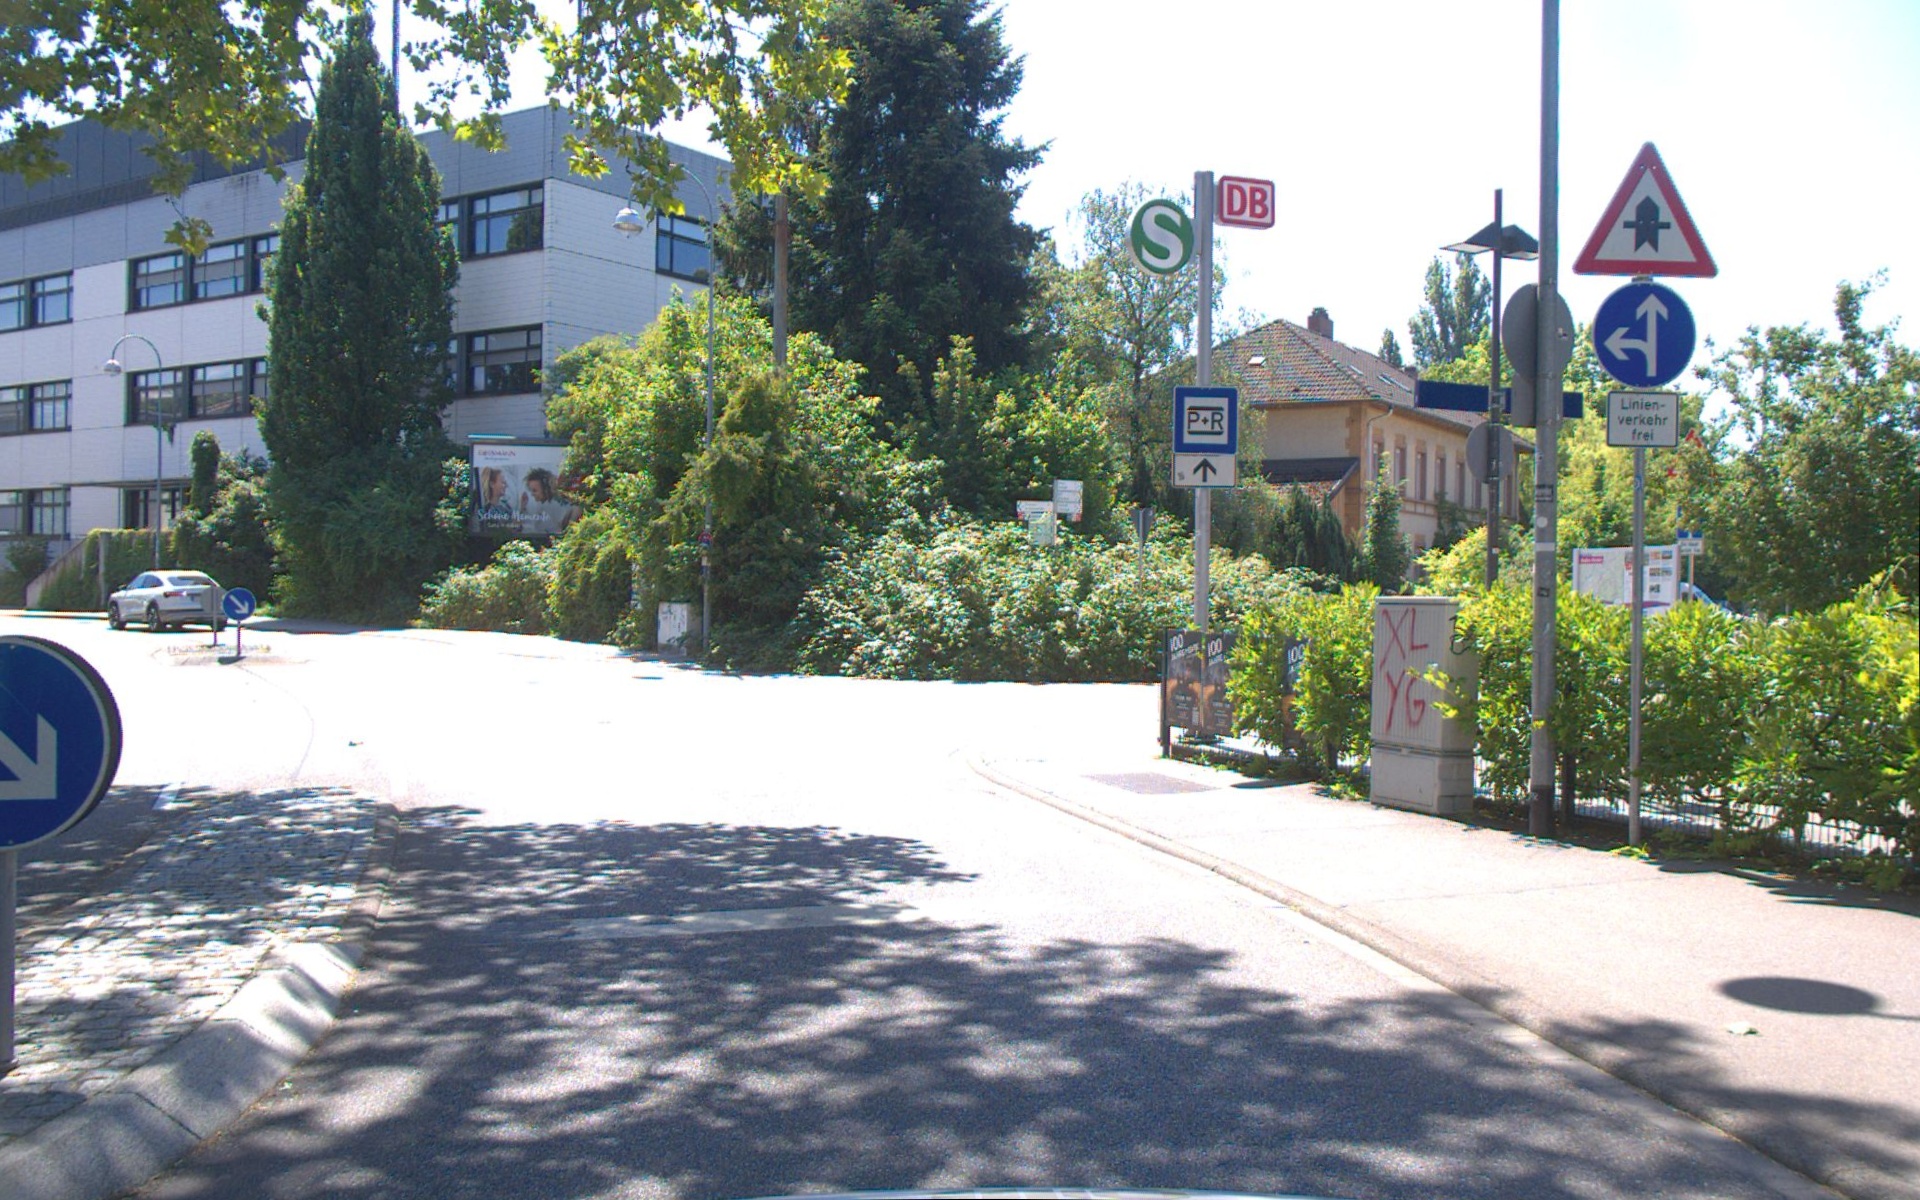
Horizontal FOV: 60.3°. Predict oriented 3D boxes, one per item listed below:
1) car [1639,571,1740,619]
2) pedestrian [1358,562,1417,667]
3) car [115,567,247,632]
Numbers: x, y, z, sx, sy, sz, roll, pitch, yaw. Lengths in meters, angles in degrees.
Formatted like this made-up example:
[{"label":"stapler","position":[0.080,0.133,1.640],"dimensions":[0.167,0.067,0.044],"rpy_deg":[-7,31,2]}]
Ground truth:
[{"label":"car","position":[37.275,-0.294,84.518],"dimensions":[4.372,2.362,2.193],"rpy_deg":[1,1,37]},{"label":"pedestrian","position":[6.878,0.223,26.621],"dimensions":[0.607,1.655,0.696],"rpy_deg":[0,2,-23]},{"label":"car","position":[-21.731,-0.063,46.089],"dimensions":[4.396,1.642,1.929],"rpy_deg":[2,2,44]}]
